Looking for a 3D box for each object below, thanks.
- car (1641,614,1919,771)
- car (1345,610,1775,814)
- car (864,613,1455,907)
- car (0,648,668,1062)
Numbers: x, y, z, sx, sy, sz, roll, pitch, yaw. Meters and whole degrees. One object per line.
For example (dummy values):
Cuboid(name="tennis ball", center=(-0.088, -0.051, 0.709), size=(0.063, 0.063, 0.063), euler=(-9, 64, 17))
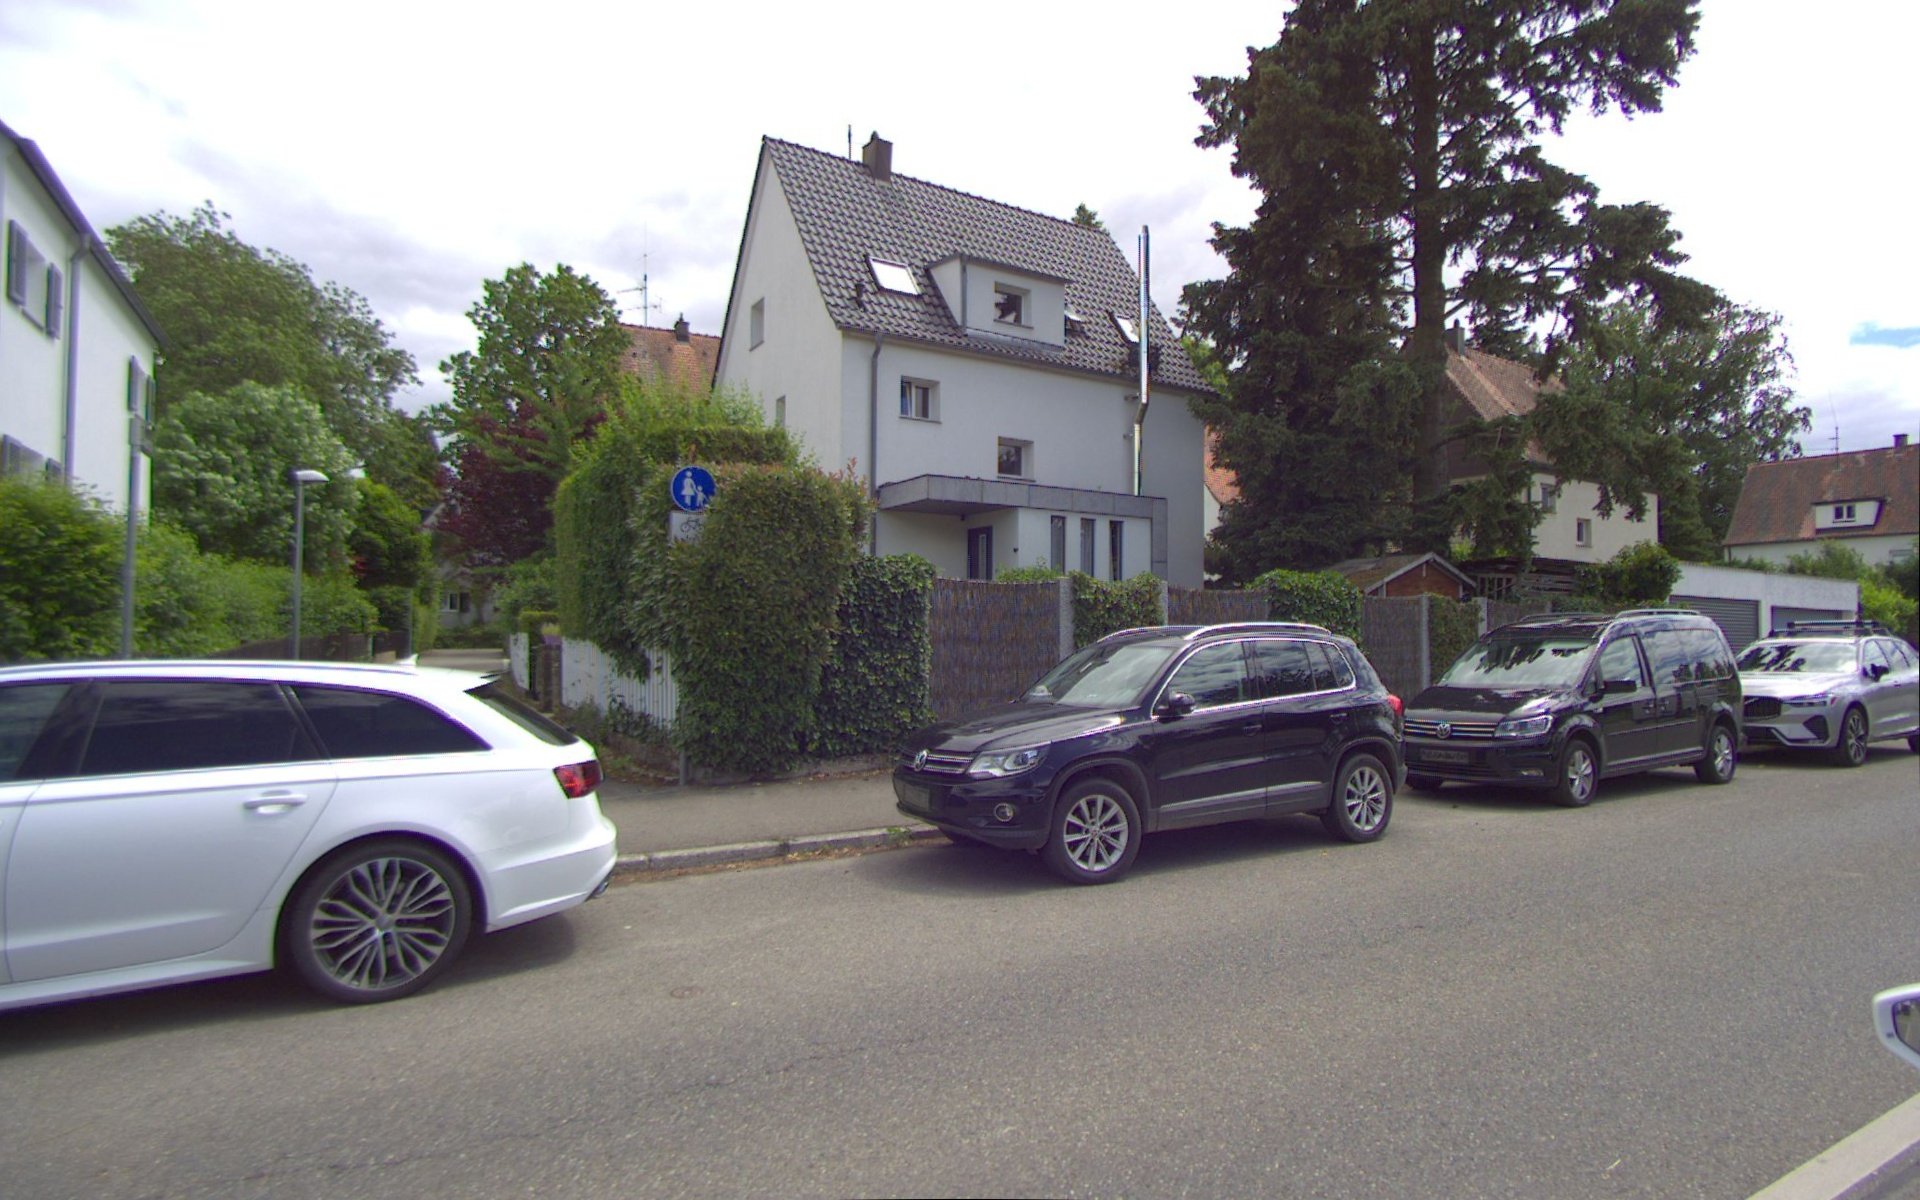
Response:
Cuboid(name="car", center=(11.685, 1.155, 13.905), size=(4.653, 1.843, 1.975), euler=(1, -2, -31))
Cuboid(name="car", center=(6.656, 1.054, 10.999), size=(4.829, 1.778, 2.056), euler=(2, -1, -32))
Cuboid(name="car", center=(1.659, 1.017, 7.731), size=(4.531, 1.700, 1.619), euler=(1, -4, -31))
Cuboid(name="car", center=(-4.011, 0.981, 4.403), size=(5.006, 1.478, 1.798), euler=(1, -3, -29))
